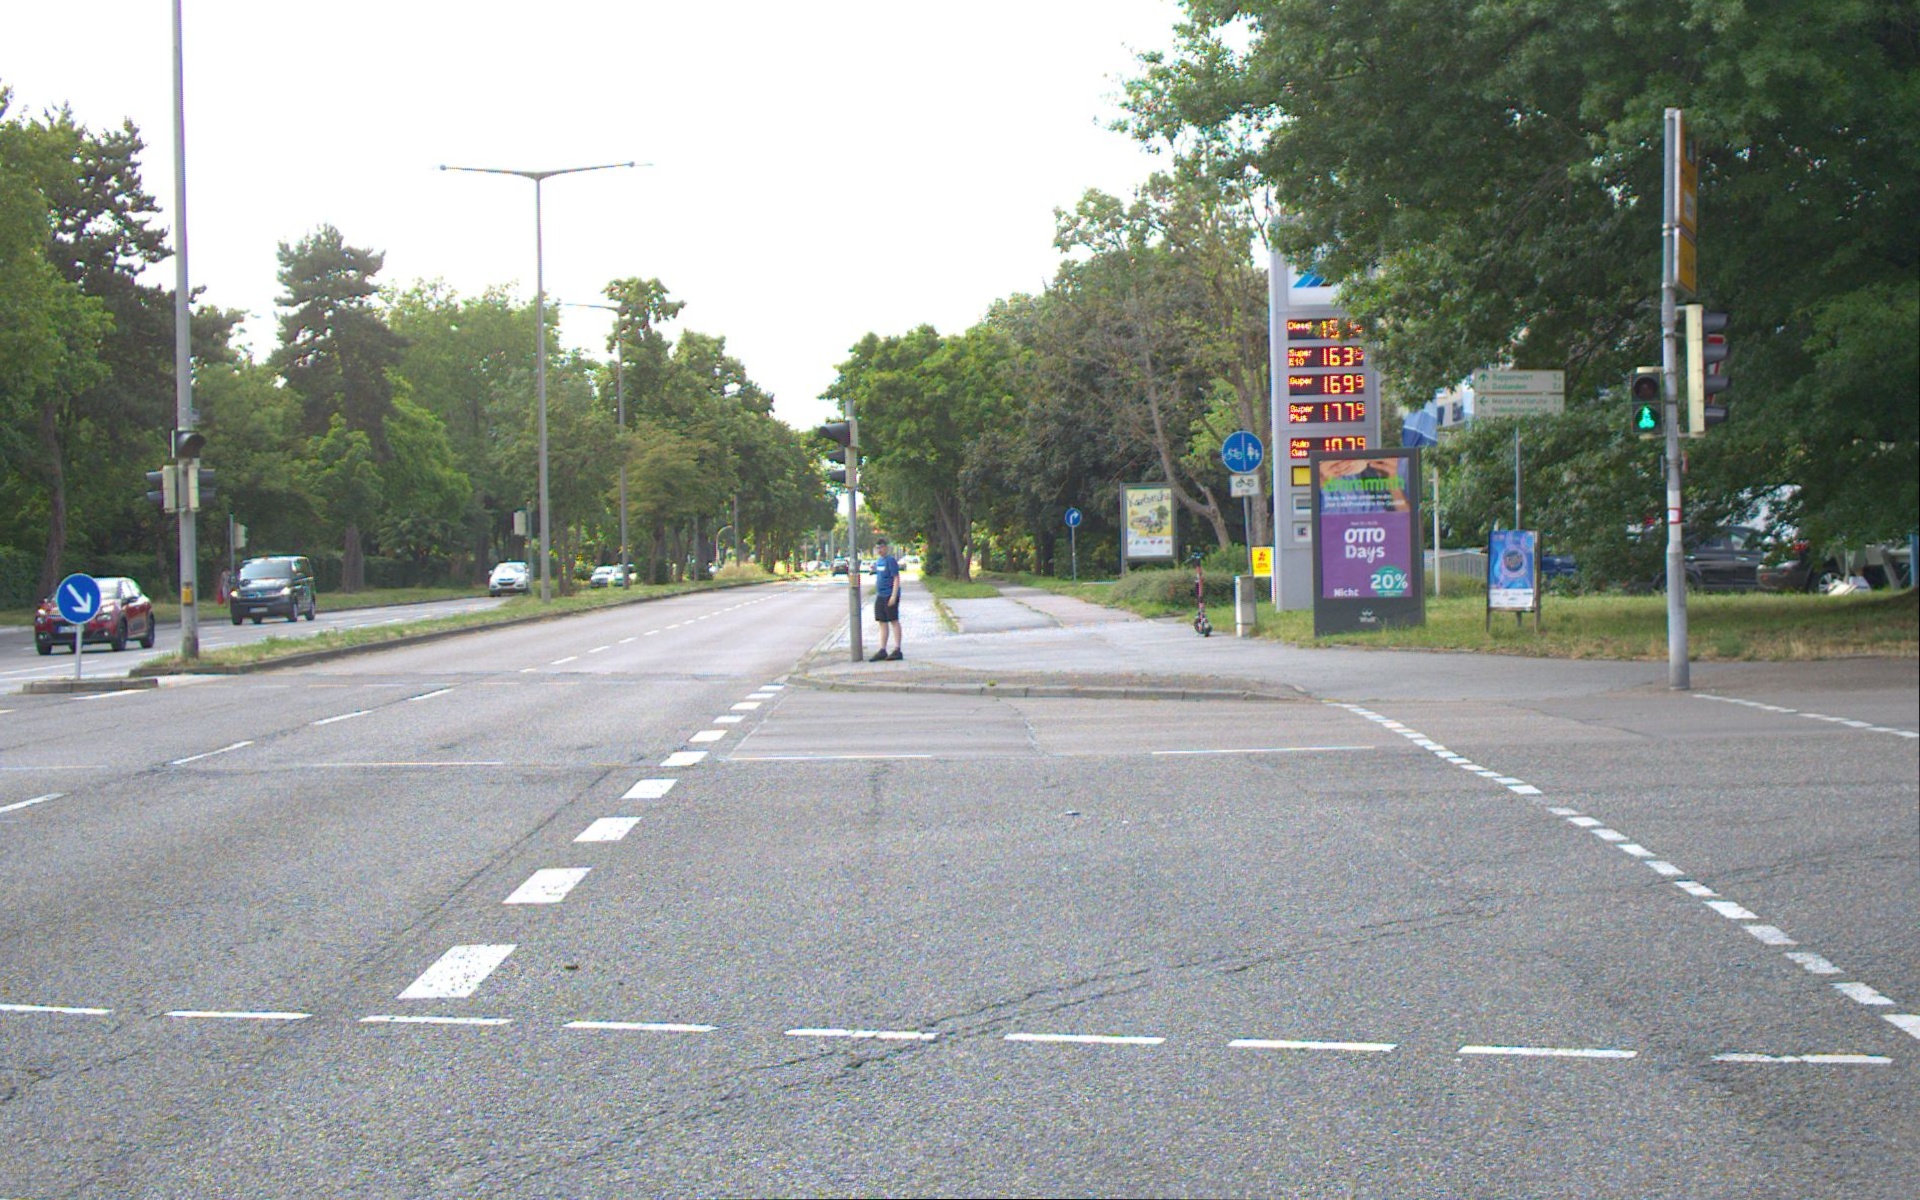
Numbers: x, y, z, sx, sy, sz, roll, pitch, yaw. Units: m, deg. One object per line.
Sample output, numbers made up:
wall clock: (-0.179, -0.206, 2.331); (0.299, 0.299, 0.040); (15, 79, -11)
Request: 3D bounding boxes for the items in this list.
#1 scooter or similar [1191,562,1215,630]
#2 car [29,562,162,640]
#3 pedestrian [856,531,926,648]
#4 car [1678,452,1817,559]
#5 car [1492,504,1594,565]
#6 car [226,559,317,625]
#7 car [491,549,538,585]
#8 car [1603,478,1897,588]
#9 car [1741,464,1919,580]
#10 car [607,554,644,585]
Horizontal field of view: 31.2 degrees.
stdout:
scooter or similar: (3.555, -0.062, 50.311); (0.221, 0.976, 1.272); (-2, 1, -1)
car: (-17.446, -0.005, 69.522); (1.771, 1.460, 4.456); (-2, 1, -3)
pedestrian: (-0.926, -0.146, 46.044); (0.725, 1.526, 0.760); (-2, 1, -17)
car: (18.984, -2.250, 83.116); (1.750, 2.445, 5.751); (-2, 1, -2)
car: (14.611, -1.635, 86.253); (1.750, 1.449, 3.741); (-2, 1, -2)
car: (-20.630, -0.265, 103.129); (1.765, 1.850, 4.817); (-2, 1, -1)
car: (-22.035, -1.639, 170.101); (1.860, 1.699, 4.456); (-2, 1, -2)
car: (15.477, -1.309, 67.553); (5.180, 1.997, 2.154); (-2, 1, -4)
car: (15.767, -1.311, 56.614); (5.179, 1.820, 2.154); (-2, 1, -11)
car: (-18.935, -1.739, 194.720); (1.860, 1.699, 4.456); (-2, 1, -3)
